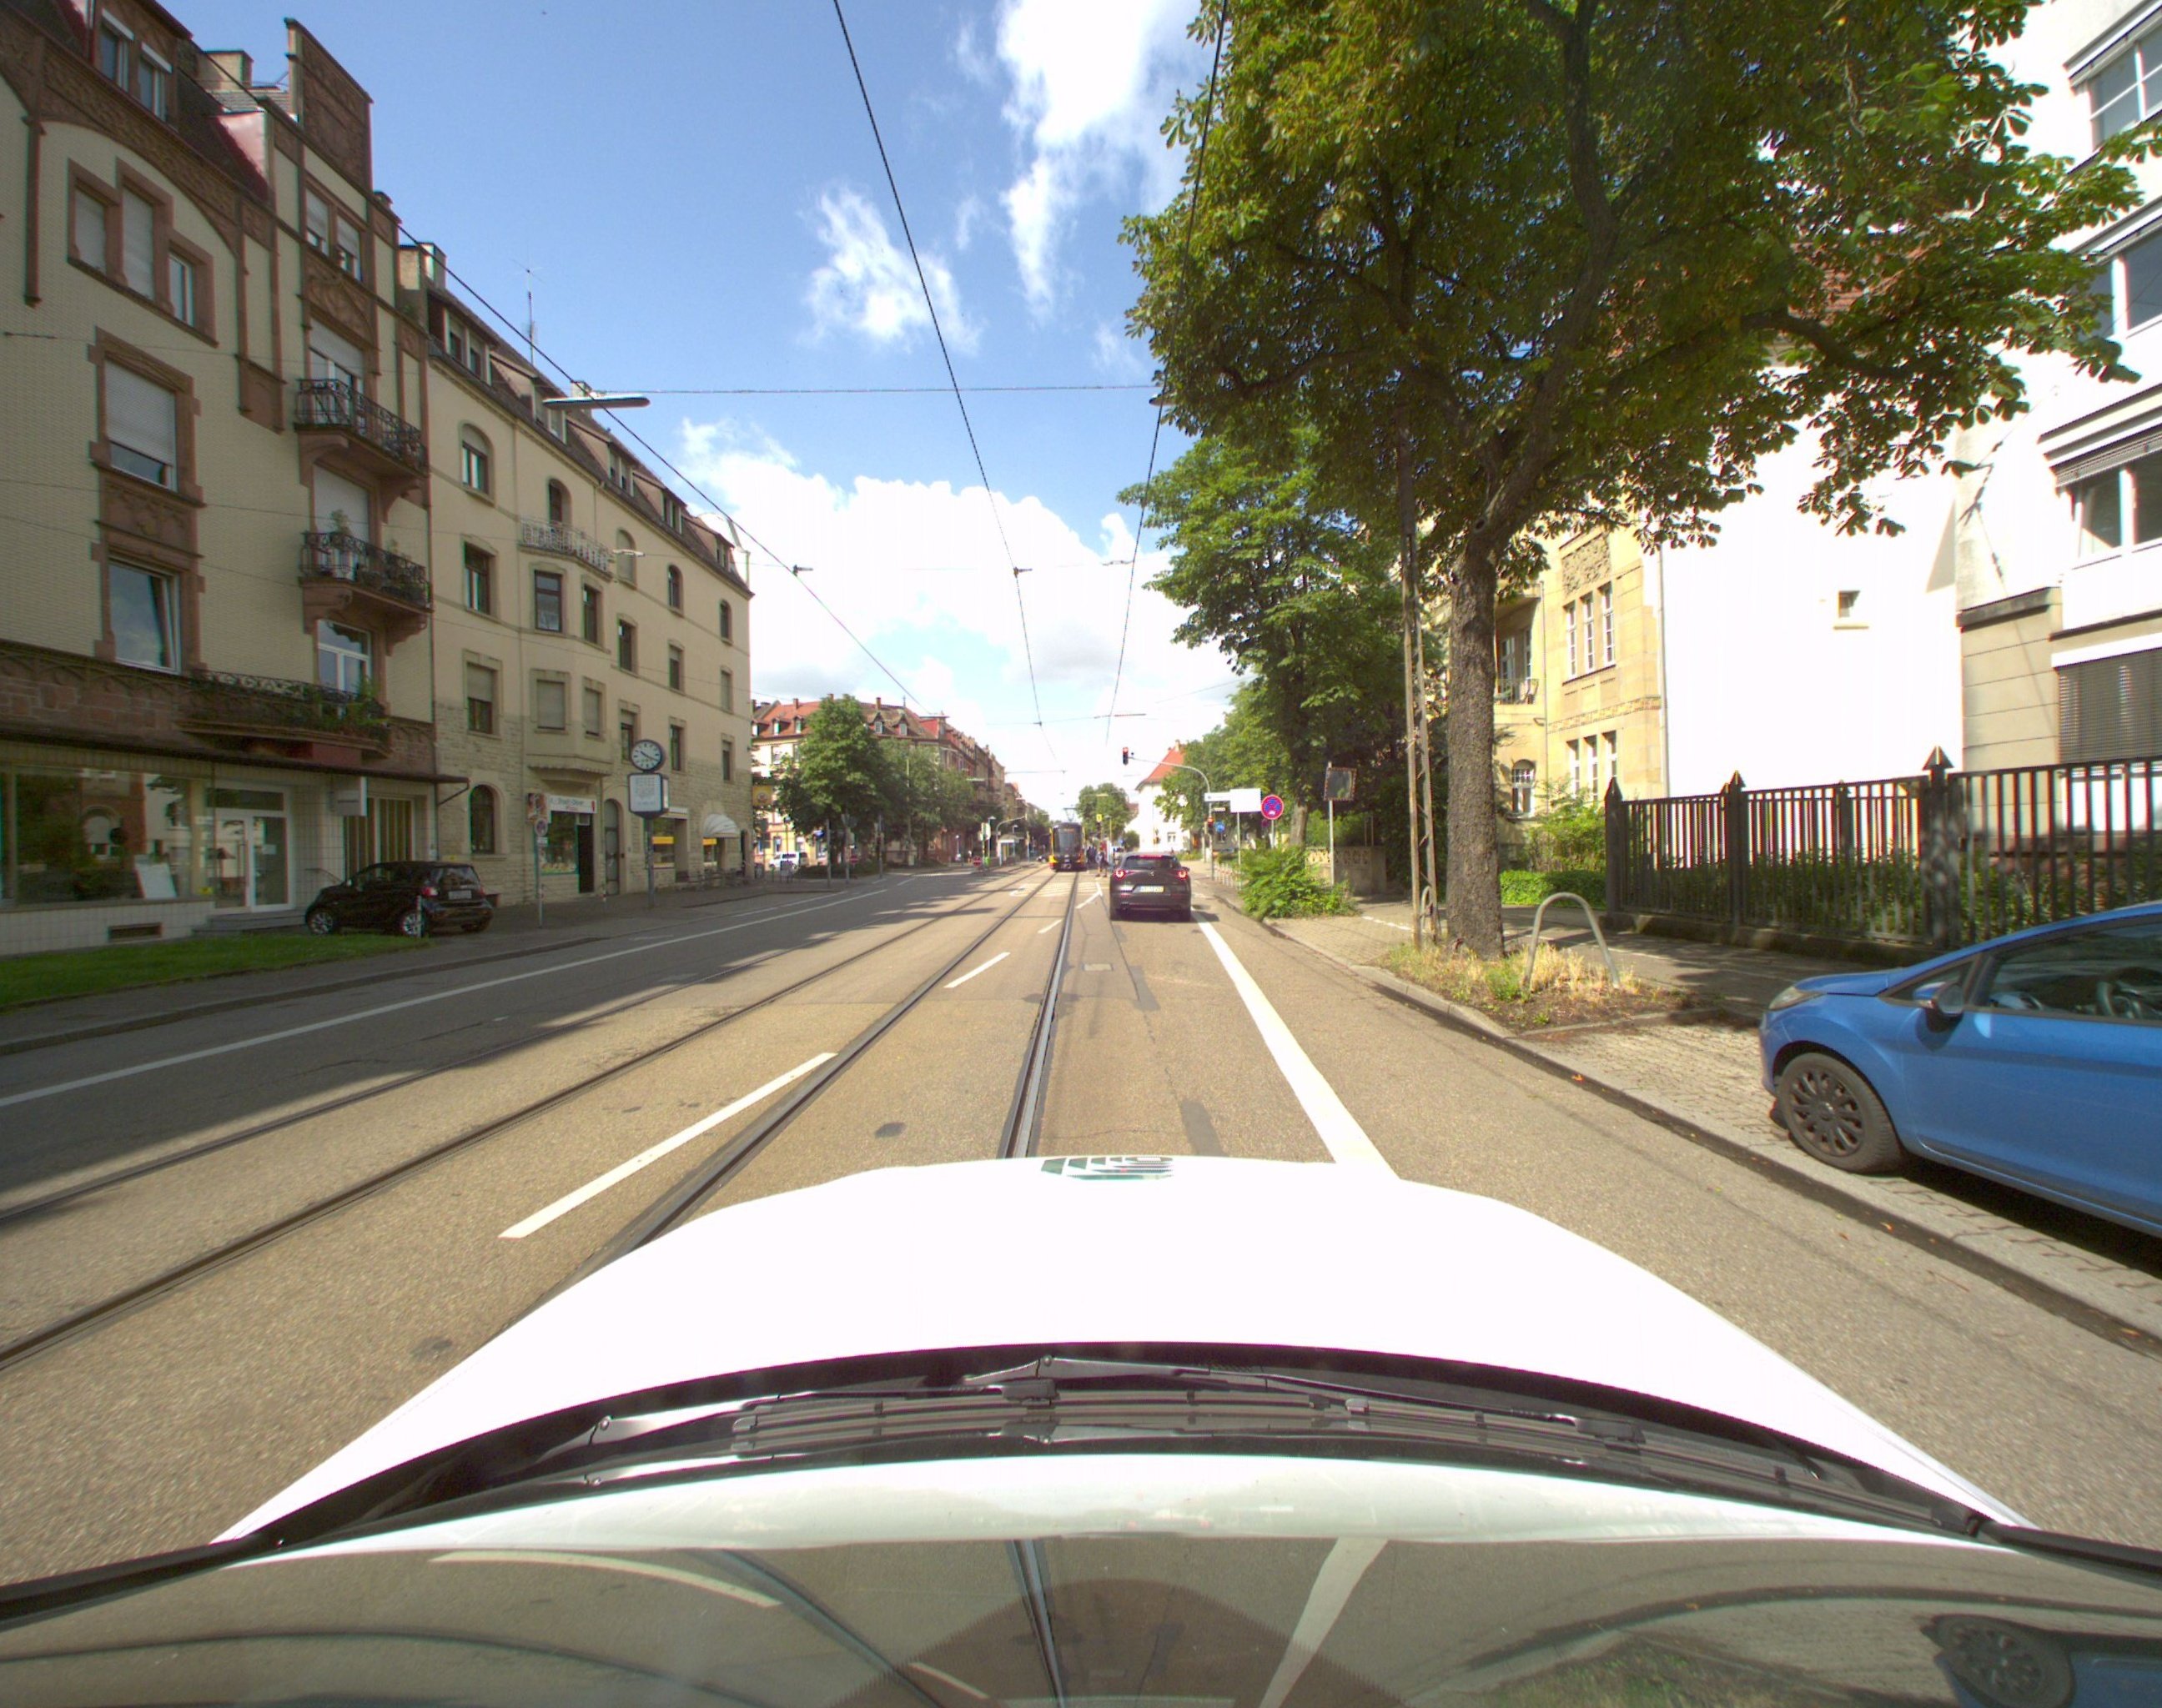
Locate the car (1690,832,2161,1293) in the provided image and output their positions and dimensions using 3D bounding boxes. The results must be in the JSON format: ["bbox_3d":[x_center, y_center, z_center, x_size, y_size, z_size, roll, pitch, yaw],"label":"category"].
[{"bbox_3d":[4.433,0.694,2.883,1.619,1.496,3.847,-3,0,0],"label":"car"}]

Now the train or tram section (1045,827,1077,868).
[{"bbox_3d":[-2.000,-0.539,76.706,2.646,3.527,8.487,-2,0,-3],"label":"train or tram section"}]

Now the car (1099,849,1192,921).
[{"bbox_3d":[1.417,0.638,19.349,1.784,1.512,4.349,0,0,-1],"label":"car"}]

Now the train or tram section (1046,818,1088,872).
[{"bbox_3d":[-1.133,-0.605,59.725,2.646,3.527,8.487,-2,0,-3],"label":"train or tram section"}]

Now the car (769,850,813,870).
[{"bbox_3d":[-33.169,0.675,93.254,4.095,2.013,2.005,-5,0,9],"label":"car"}]

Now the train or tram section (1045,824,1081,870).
[{"bbox_3d":[-1.570,-0.568,68.211,2.646,3.527,8.487,-2,0,-3],"label":"train or tram section"}]

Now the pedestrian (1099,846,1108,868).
[{"bbox_3d":[1.672,0.190,60.611,0.666,1.605,0.699,-1,0,-2],"label":"pedestrian"}]

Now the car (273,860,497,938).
[{"bbox_3d":[-14.370,0.892,16.931,3.223,1.513,1.680,0,0,3],"label":"car"}]

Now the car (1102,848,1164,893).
[{"bbox_3d":[1.879,0.553,30.764,1.780,1.492,4.878,-2,1,-3],"label":"car"}]

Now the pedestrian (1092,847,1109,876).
[{"bbox_3d":[1.069,0.407,44.961,0.873,1.605,0.631,-1,0,-4],"label":"pedestrian"}]
